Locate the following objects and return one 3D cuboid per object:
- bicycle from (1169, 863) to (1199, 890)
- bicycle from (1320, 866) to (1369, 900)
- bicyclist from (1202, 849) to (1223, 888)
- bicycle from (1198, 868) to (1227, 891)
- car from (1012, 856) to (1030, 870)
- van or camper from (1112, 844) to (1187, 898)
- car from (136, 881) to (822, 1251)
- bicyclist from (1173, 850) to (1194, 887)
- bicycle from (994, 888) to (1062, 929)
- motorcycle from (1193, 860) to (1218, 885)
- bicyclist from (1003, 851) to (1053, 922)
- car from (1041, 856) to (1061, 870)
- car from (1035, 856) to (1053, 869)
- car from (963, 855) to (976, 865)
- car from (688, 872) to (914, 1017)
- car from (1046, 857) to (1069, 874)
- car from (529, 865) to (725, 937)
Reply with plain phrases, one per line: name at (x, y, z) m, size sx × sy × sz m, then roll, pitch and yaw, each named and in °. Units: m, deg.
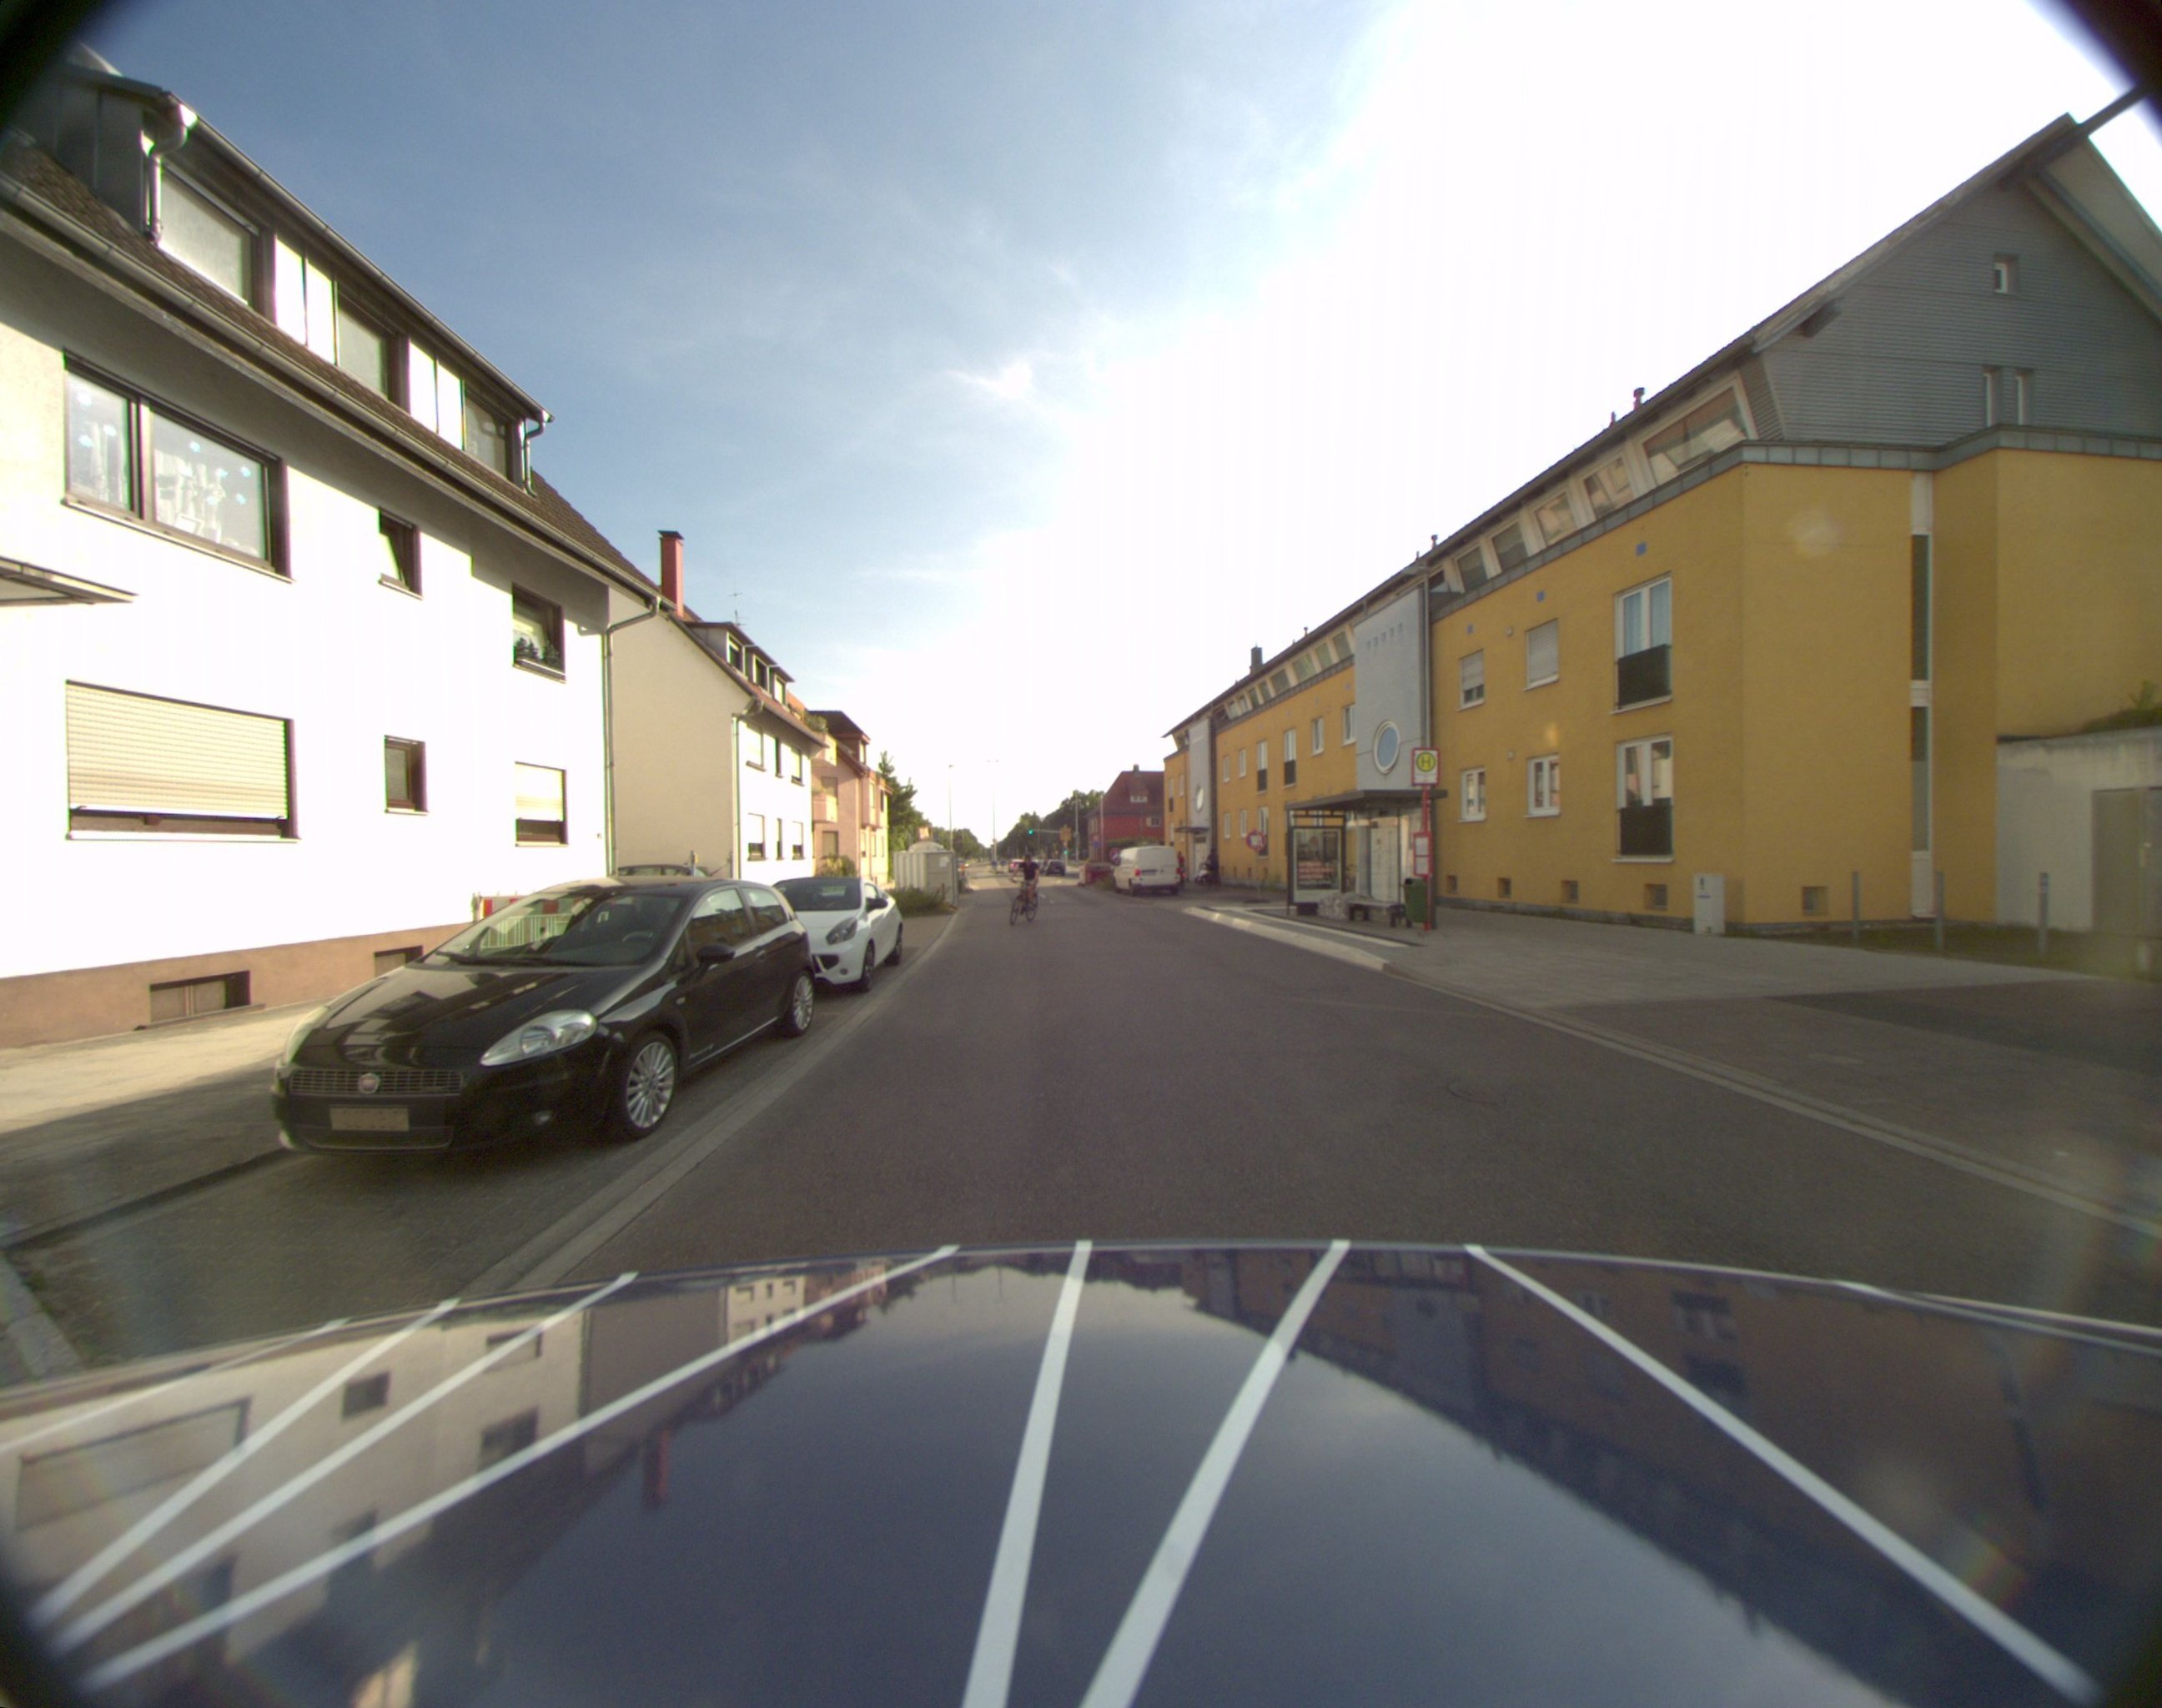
bicycle at (4.552, 0.979, 33.747) m, size 0.614 × 1.154 × 2.020 m, roll -2°, pitch 0°, yaw -12°
bicycle at (8.373, 0.914, 24.232) m, size 0.718 × 0.991 × 1.906 m, roll -2°, pitch 0°, yaw -5°
bicyclist at (5.627, 0.614, 32.632) m, size 0.676 × 1.659 × 0.665 m, roll -2°, pitch 1°, yaw -7°
bicycle at (5.638, 1.084, 32.629) m, size 0.692 × 0.907 × 1.872 m, roll -2°, pitch 0°, yaw -6°
car at (-7.020, 0.986, 88.443) m, size 1.983 × 1.520 × 3.997 m, roll -1°, pitch 0°, yaw -7°
van or camper at (2.721, 0.638, 31.515) m, size 2.000 × 1.991 × 4.917 m, roll -2°, pitch 0°, yaw -8°
car at (-3.248, 0.982, 5.216) m, size 1.612 × 1.413 × 3.919 m, roll 1°, pitch 0°, yaw -1°
bicyclist at (4.542, 0.646, 33.675) m, size 0.672 × 1.594 × 0.727 m, roll -2°, pitch 1°, yaw -12°
bicycle at (-1.272, 1.314, 18.613) m, size 0.679 × 0.849 × 2.030 m, roll -2°, pitch 0°, yaw 27°
motorcycle at (6.118, 0.907, 37.529) m, size 0.584 × 1.176 × 1.876 m, roll -2°, pitch 0°, yaw -10°
bicyclist at (-1.283, 0.785, 18.593) m, size 0.844 × 1.680 × 0.879 m, roll -1°, pitch 1°, yaw 27°
car at (-3.242, 0.914, 81.653) m, size 1.795 × 1.433 × 3.997 m, roll -2°, pitch 0°, yaw -7°
car at (-4.408, 0.966, 90.482) m, size 1.795 × 1.433 × 3.997 m, roll -2°, pitch 0°, yaw -7°
car at (-16.845, 0.856, 114.445) m, size 1.796 × 1.433 × 3.997 m, roll 1°, pitch 0°, yaw -7°
car at (-3.477, 1.034, 10.319) m, size 1.720 × 1.390 × 4.332 m, roll 2°, pitch 0°, yaw -5°
car at (-2.231, 1.062, 70.985) m, size 1.796 × 1.433 × 3.997 m, roll -2°, pitch 0°, yaw -7°
car at (-11.287, 1.143, 19.107) m, size 3.751 × 1.557 × 1.794 m, roll -2°, pitch 1°, yaw -4°
